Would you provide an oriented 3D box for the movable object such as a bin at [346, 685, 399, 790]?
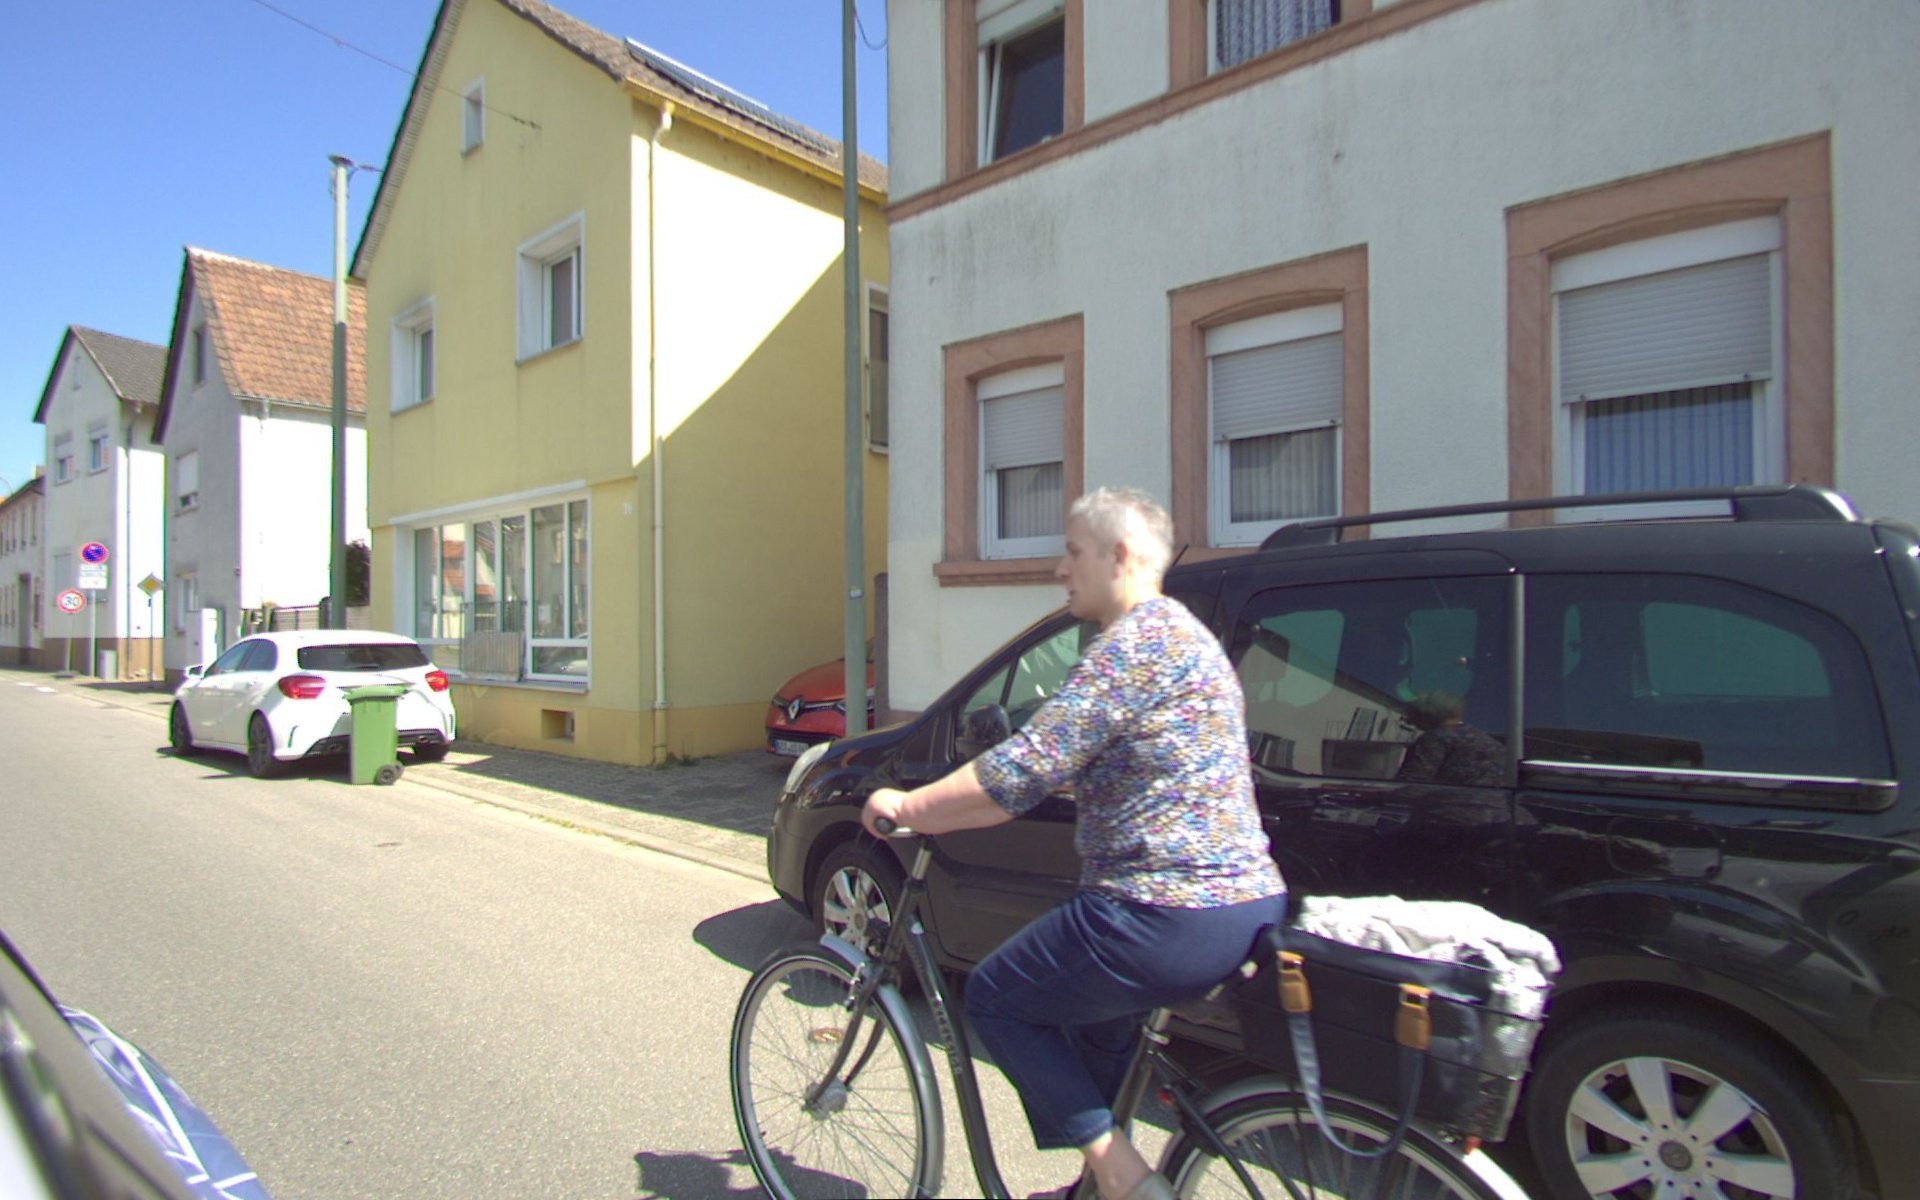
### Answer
[{"bbox_3d":[-5.522,1.274,9.518,0.419,0.911,0.497,0,-1,-31],"label":"movable object such as a bin"}]

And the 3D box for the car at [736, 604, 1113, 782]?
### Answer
[{"bbox_3d":[-0.225,0.791,10.264,1.675,1.469,3.704,-2,-1,44],"label":"car"}]

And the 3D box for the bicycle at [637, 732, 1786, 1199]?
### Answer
[{"bbox_3d":[0.241,0.900,1.837,1.946,1.157,0.583,-2,-3,38],"label":"bicycle"}]

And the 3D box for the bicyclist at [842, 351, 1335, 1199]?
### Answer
[{"bbox_3d":[0.264,0.541,1.899,0.624,1.784,0.697,-2,0,38],"label":"bicyclist"}]

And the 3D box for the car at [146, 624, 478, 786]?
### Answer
[{"bbox_3d":[-7.330,1.032,11.301,4.265,1.475,1.817,-2,-3,38],"label":"car"}]

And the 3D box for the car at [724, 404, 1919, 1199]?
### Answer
[{"bbox_3d":[1.167,0.600,3.707,4.352,1.851,1.815,-2,-2,42],"label":"car"}]
